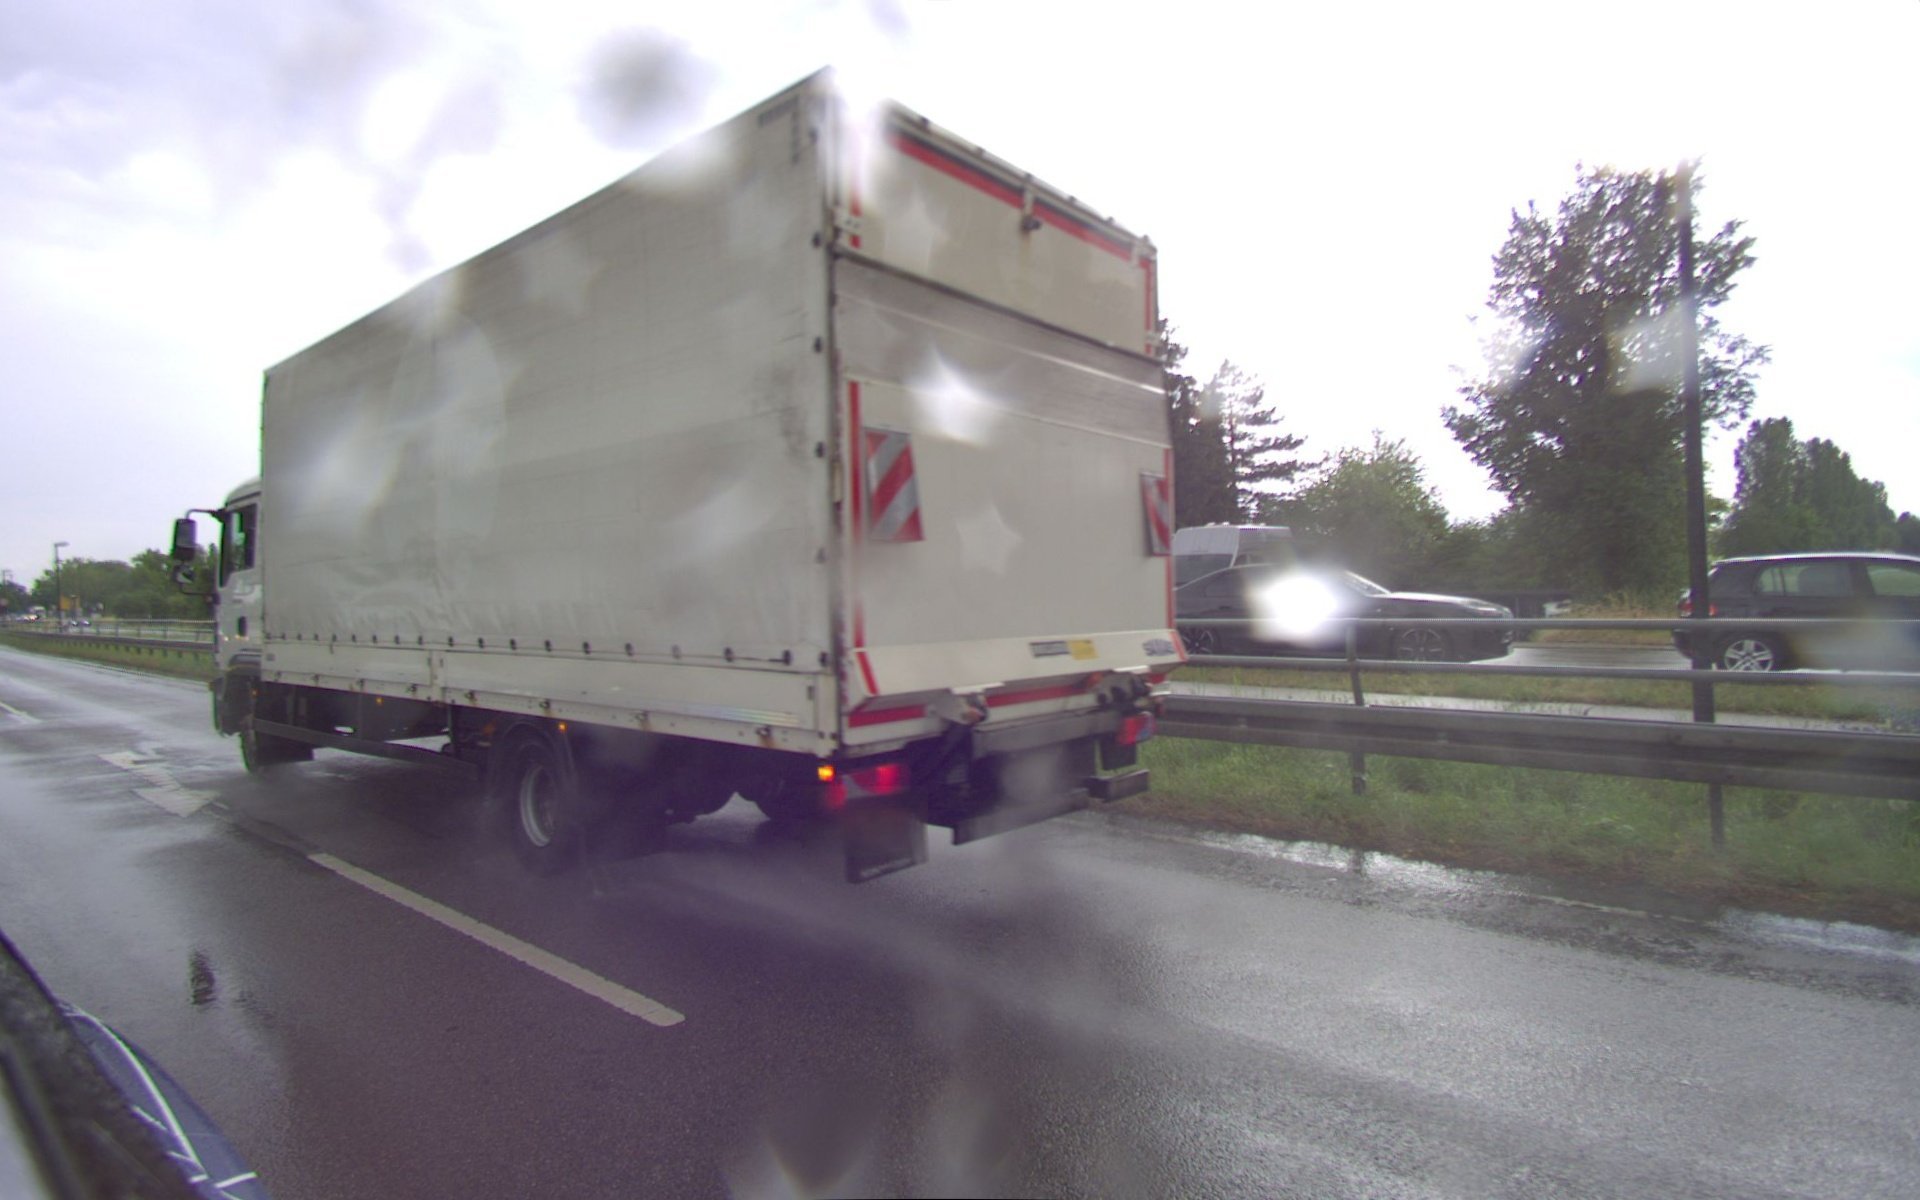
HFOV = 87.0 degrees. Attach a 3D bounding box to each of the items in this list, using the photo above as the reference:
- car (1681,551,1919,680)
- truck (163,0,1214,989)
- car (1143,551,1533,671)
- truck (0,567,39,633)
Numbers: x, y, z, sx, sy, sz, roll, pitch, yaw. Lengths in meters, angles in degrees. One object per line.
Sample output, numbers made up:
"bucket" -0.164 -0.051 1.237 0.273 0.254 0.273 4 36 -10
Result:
"car" 10.288 0.165 11.053 3.891 1.341 1.271 -2 -1 37
"truck" -3.119 -0.316 7.541 9.547 3.478 2.550 -2 -1 40
"car" 5.332 0.195 14.753 5.112 1.502 1.502 -2 -1 37
"truck" -77.139 0.086 81.531 7.778 5.071 3.216 -1 1 40
